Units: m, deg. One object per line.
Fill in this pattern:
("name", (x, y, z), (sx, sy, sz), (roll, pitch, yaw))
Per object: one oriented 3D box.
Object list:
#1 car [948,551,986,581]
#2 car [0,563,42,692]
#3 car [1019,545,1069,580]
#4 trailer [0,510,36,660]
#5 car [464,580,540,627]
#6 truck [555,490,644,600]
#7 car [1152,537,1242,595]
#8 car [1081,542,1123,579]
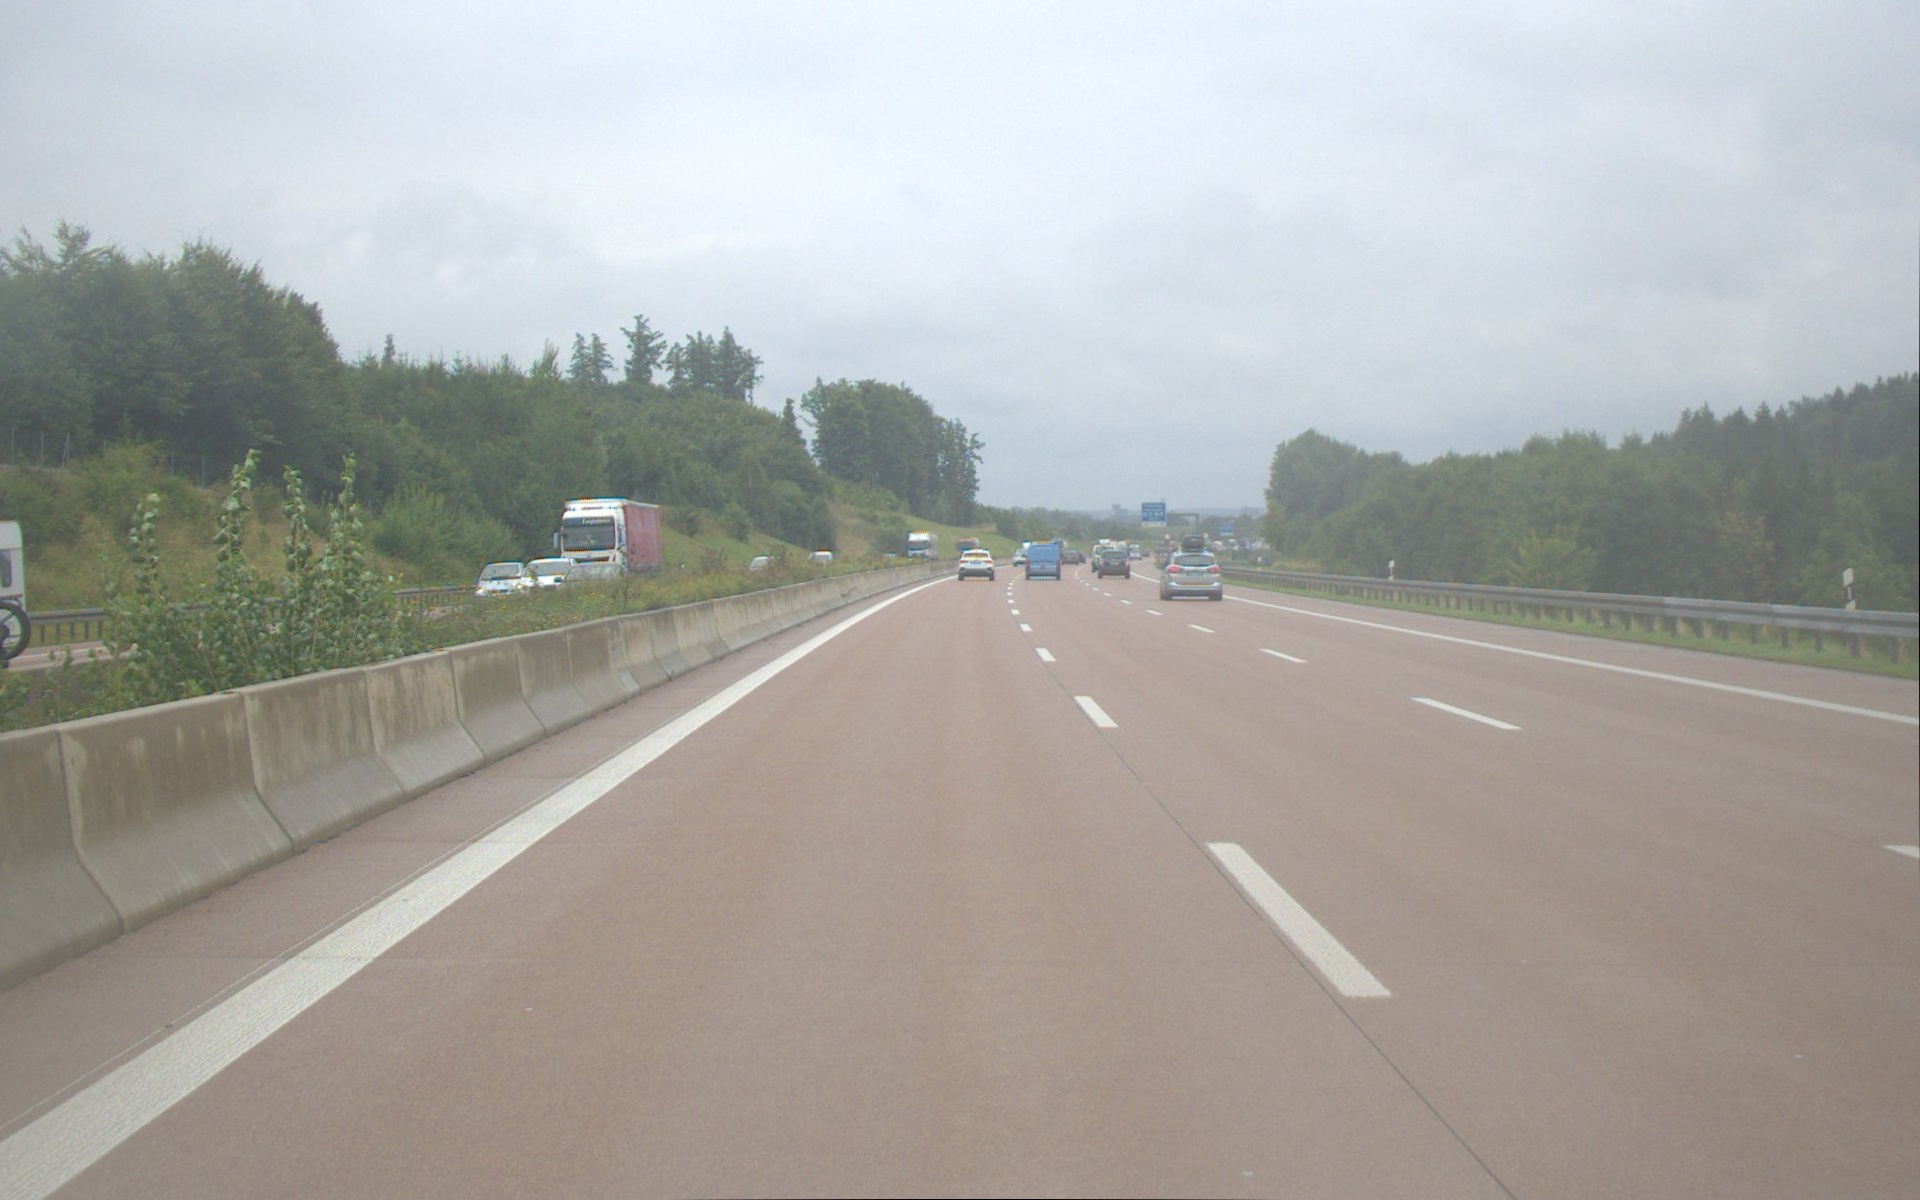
("car", (0.361, -1.746, 176.381), (1.874, 1.439, 4.877), (1, 0, 0))
("car", (-12.534, 0.383, 40.885), (1.692, 1.552, 5.677), (-2, 1, 0))
("car", (4.474, -2.002, 183.454), (2.322, 1.744, 4.877), (1, 0, -2))
("trailer", (-16.591, -0.172, 54.612), (2.277, 2.403, 5.438), (-3, 1, 0))
("car", (-15.923, 0.127, 119.729), (1.993, 1.570, 4.524), (-1, 0, 0))
("truck", (-15.079, -2.246, 144.330), (2.950, 4.462, 6.792), (1, 0, 0))
("car", (7.471, -1.045, 108.822), (2.322, 1.744, 4.877), (1, 0, -2))
("car", (8.017, -2.212, 194.161), (1.993, 2.007, 4.000), (1, 0, -3))
